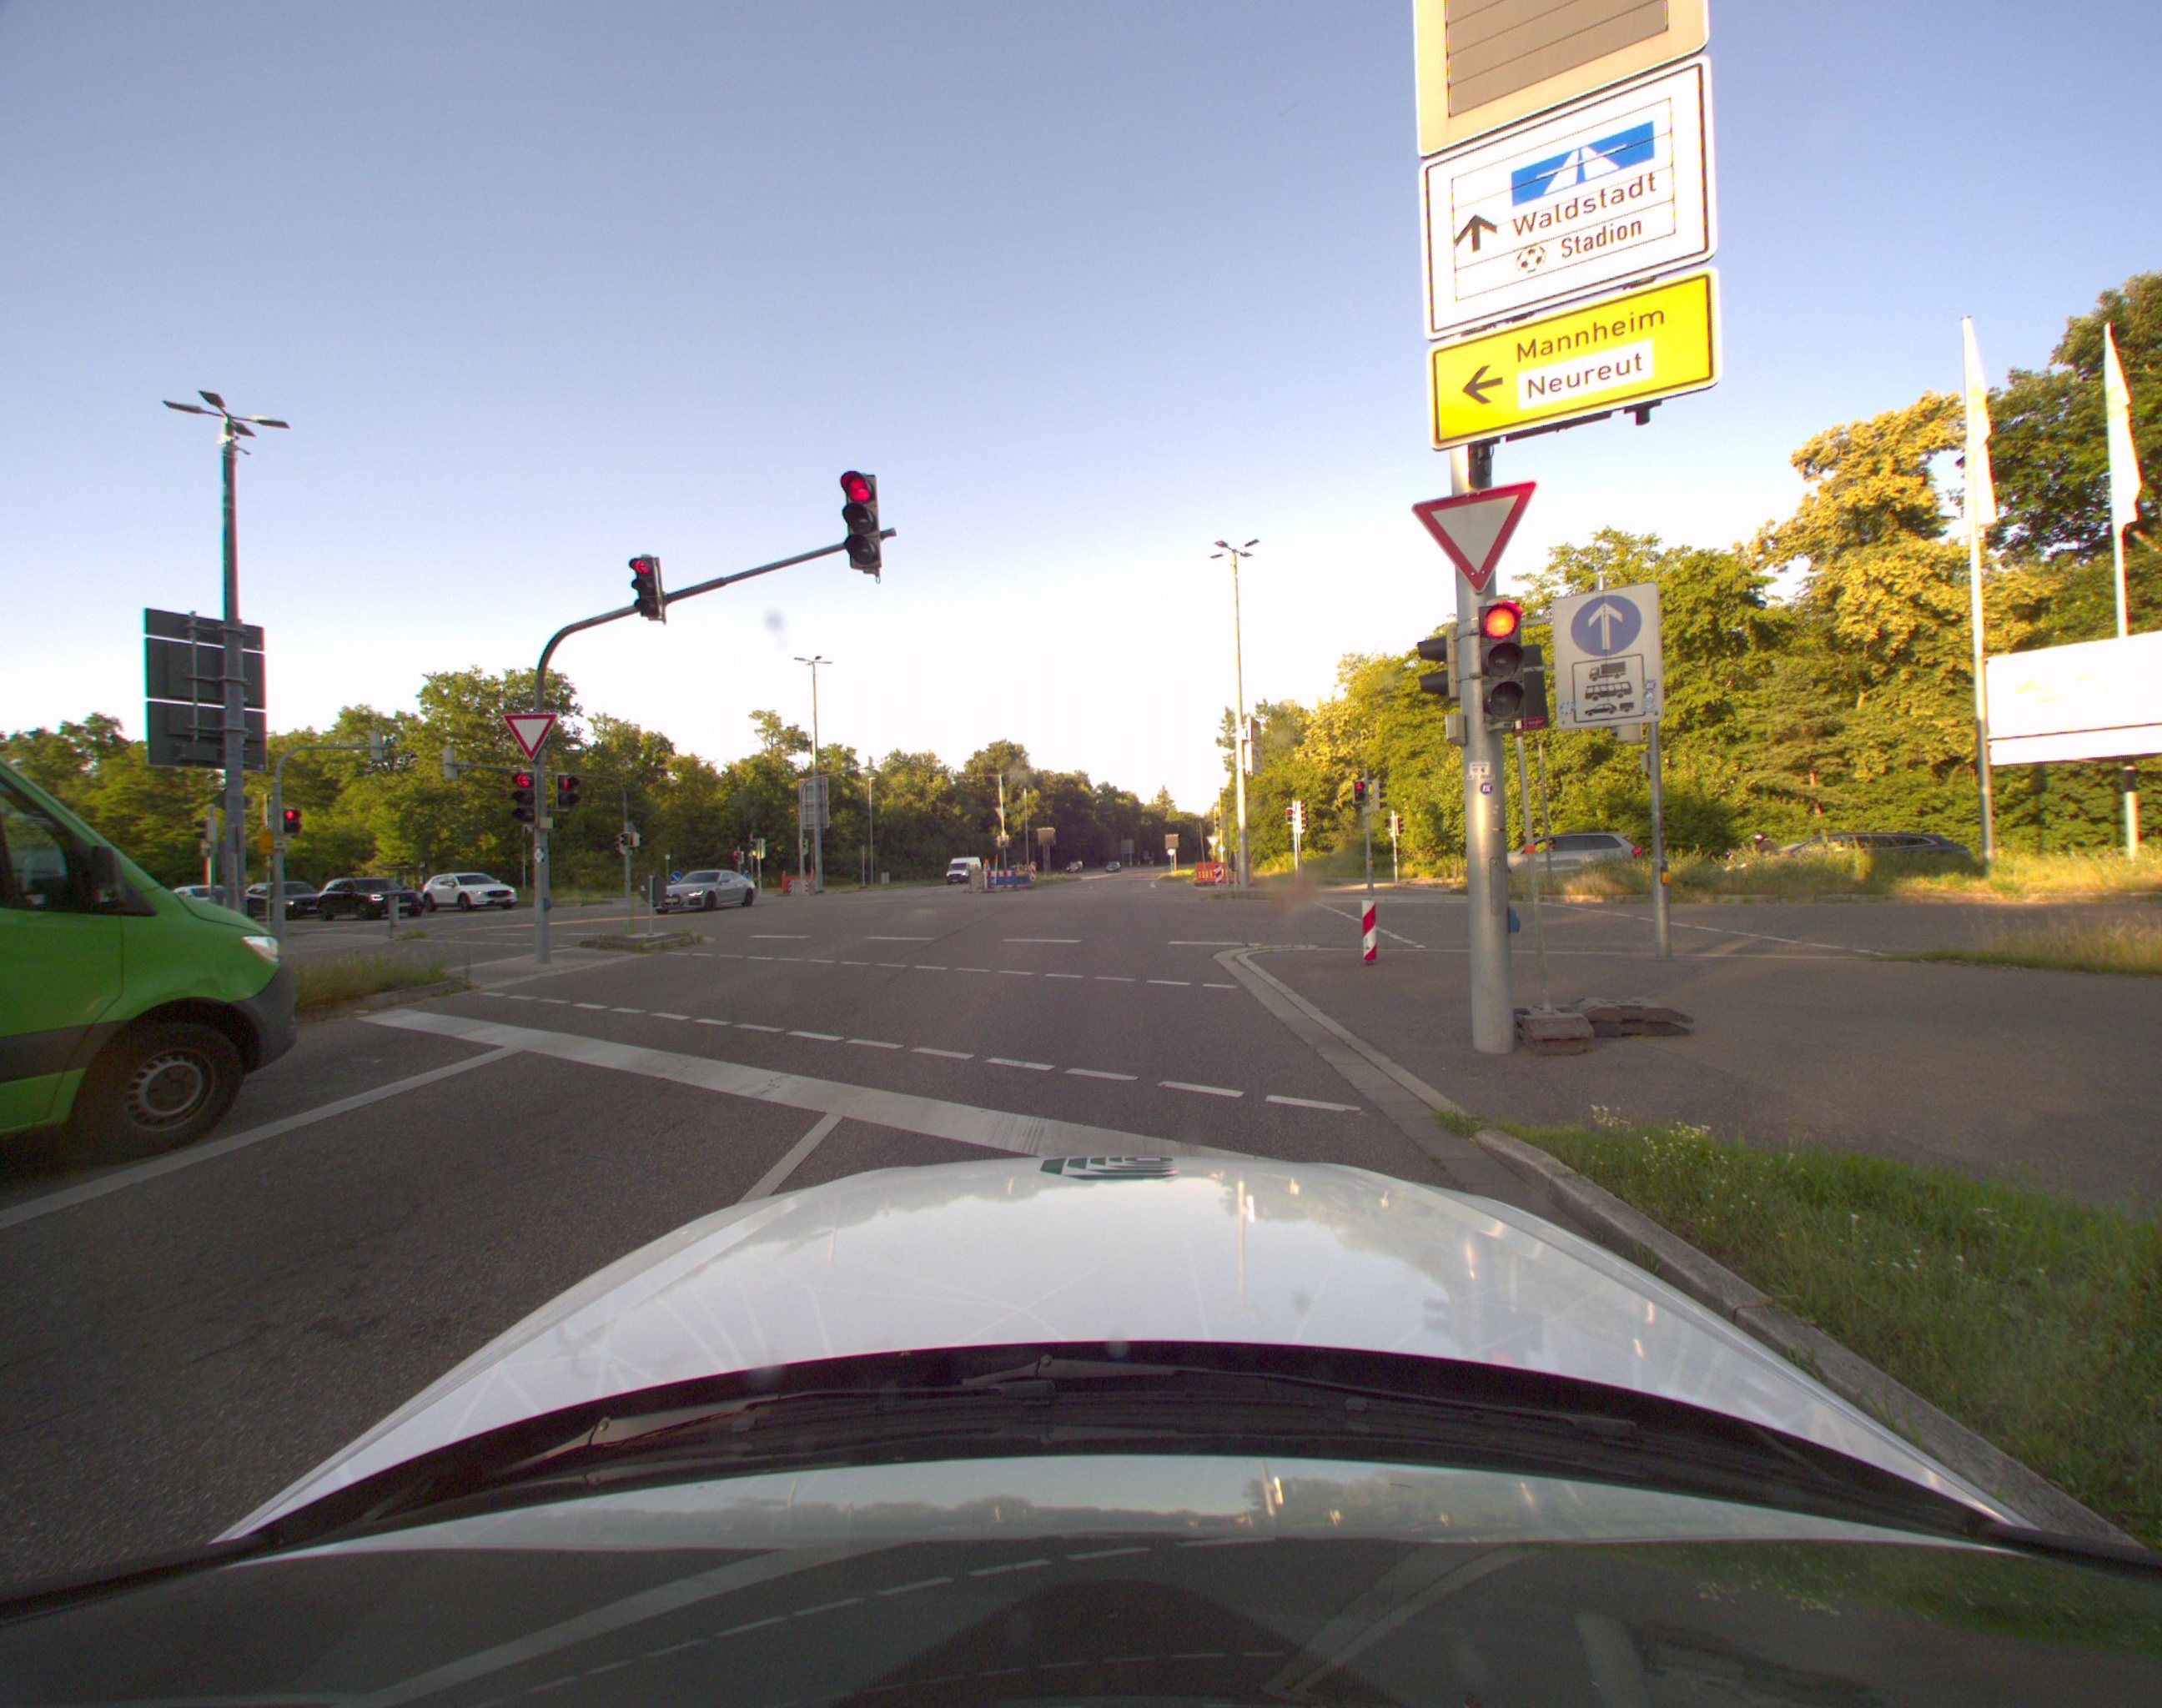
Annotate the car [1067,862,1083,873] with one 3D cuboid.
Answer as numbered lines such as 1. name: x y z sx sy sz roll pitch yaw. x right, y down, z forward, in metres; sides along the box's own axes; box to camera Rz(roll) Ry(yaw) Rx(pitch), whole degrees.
1. car: -1.025 2.223 136.656 1.981 1.640 4.011 -2 0 9

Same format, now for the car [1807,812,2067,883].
1. car: 20.038 -0.117 19.298 3.827 1.489 1.781 -2 0 24

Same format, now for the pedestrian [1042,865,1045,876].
1. pedestrian: -6.341 2.803 138.815 0.519 2.014 0.600 0 -1 2

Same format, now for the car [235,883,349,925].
1. car: -33.928 2.155 35.020 4.205 1.640 2.011 -2 0 23

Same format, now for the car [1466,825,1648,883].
1. car: 15.028 0.026 26.068 4.773 1.598 2.011 -2 0 23

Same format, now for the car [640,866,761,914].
1. car: -13.226 1.210 28.649 1.883 1.441 4.504 -2 0 3

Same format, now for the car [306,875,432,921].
1. car: -27.556 1.700 31.546 4.206 1.640 2.011 -2 0 23

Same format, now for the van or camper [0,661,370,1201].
1. van or camper: -5.858 0.364 2.549 1.987 2.421 5.896 -2 0 1

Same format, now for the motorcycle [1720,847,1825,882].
1. motorcycle: 19.452 0.296 22.963 2.125 0.910 0.666 -2 -1 23

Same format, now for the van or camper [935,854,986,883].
1. van or camper: -11.946 1.397 81.163 2.868 2.652 7.141 -2 0 10

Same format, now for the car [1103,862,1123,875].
1. car: 4.641 2.132 118.632 1.979 1.640 4.016 -3 0 14

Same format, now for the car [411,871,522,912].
1. car: -26.762 1.643 35.486 4.206 1.640 2.011 -2 0 23

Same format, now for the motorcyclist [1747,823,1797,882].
1. motorcyclist: 19.458 -0.043 22.953 0.878 1.595 0.658 -2 -1 23

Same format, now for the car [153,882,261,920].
1. car: -41.260 2.212 38.461 4.207 1.640 2.011 -2 0 21
